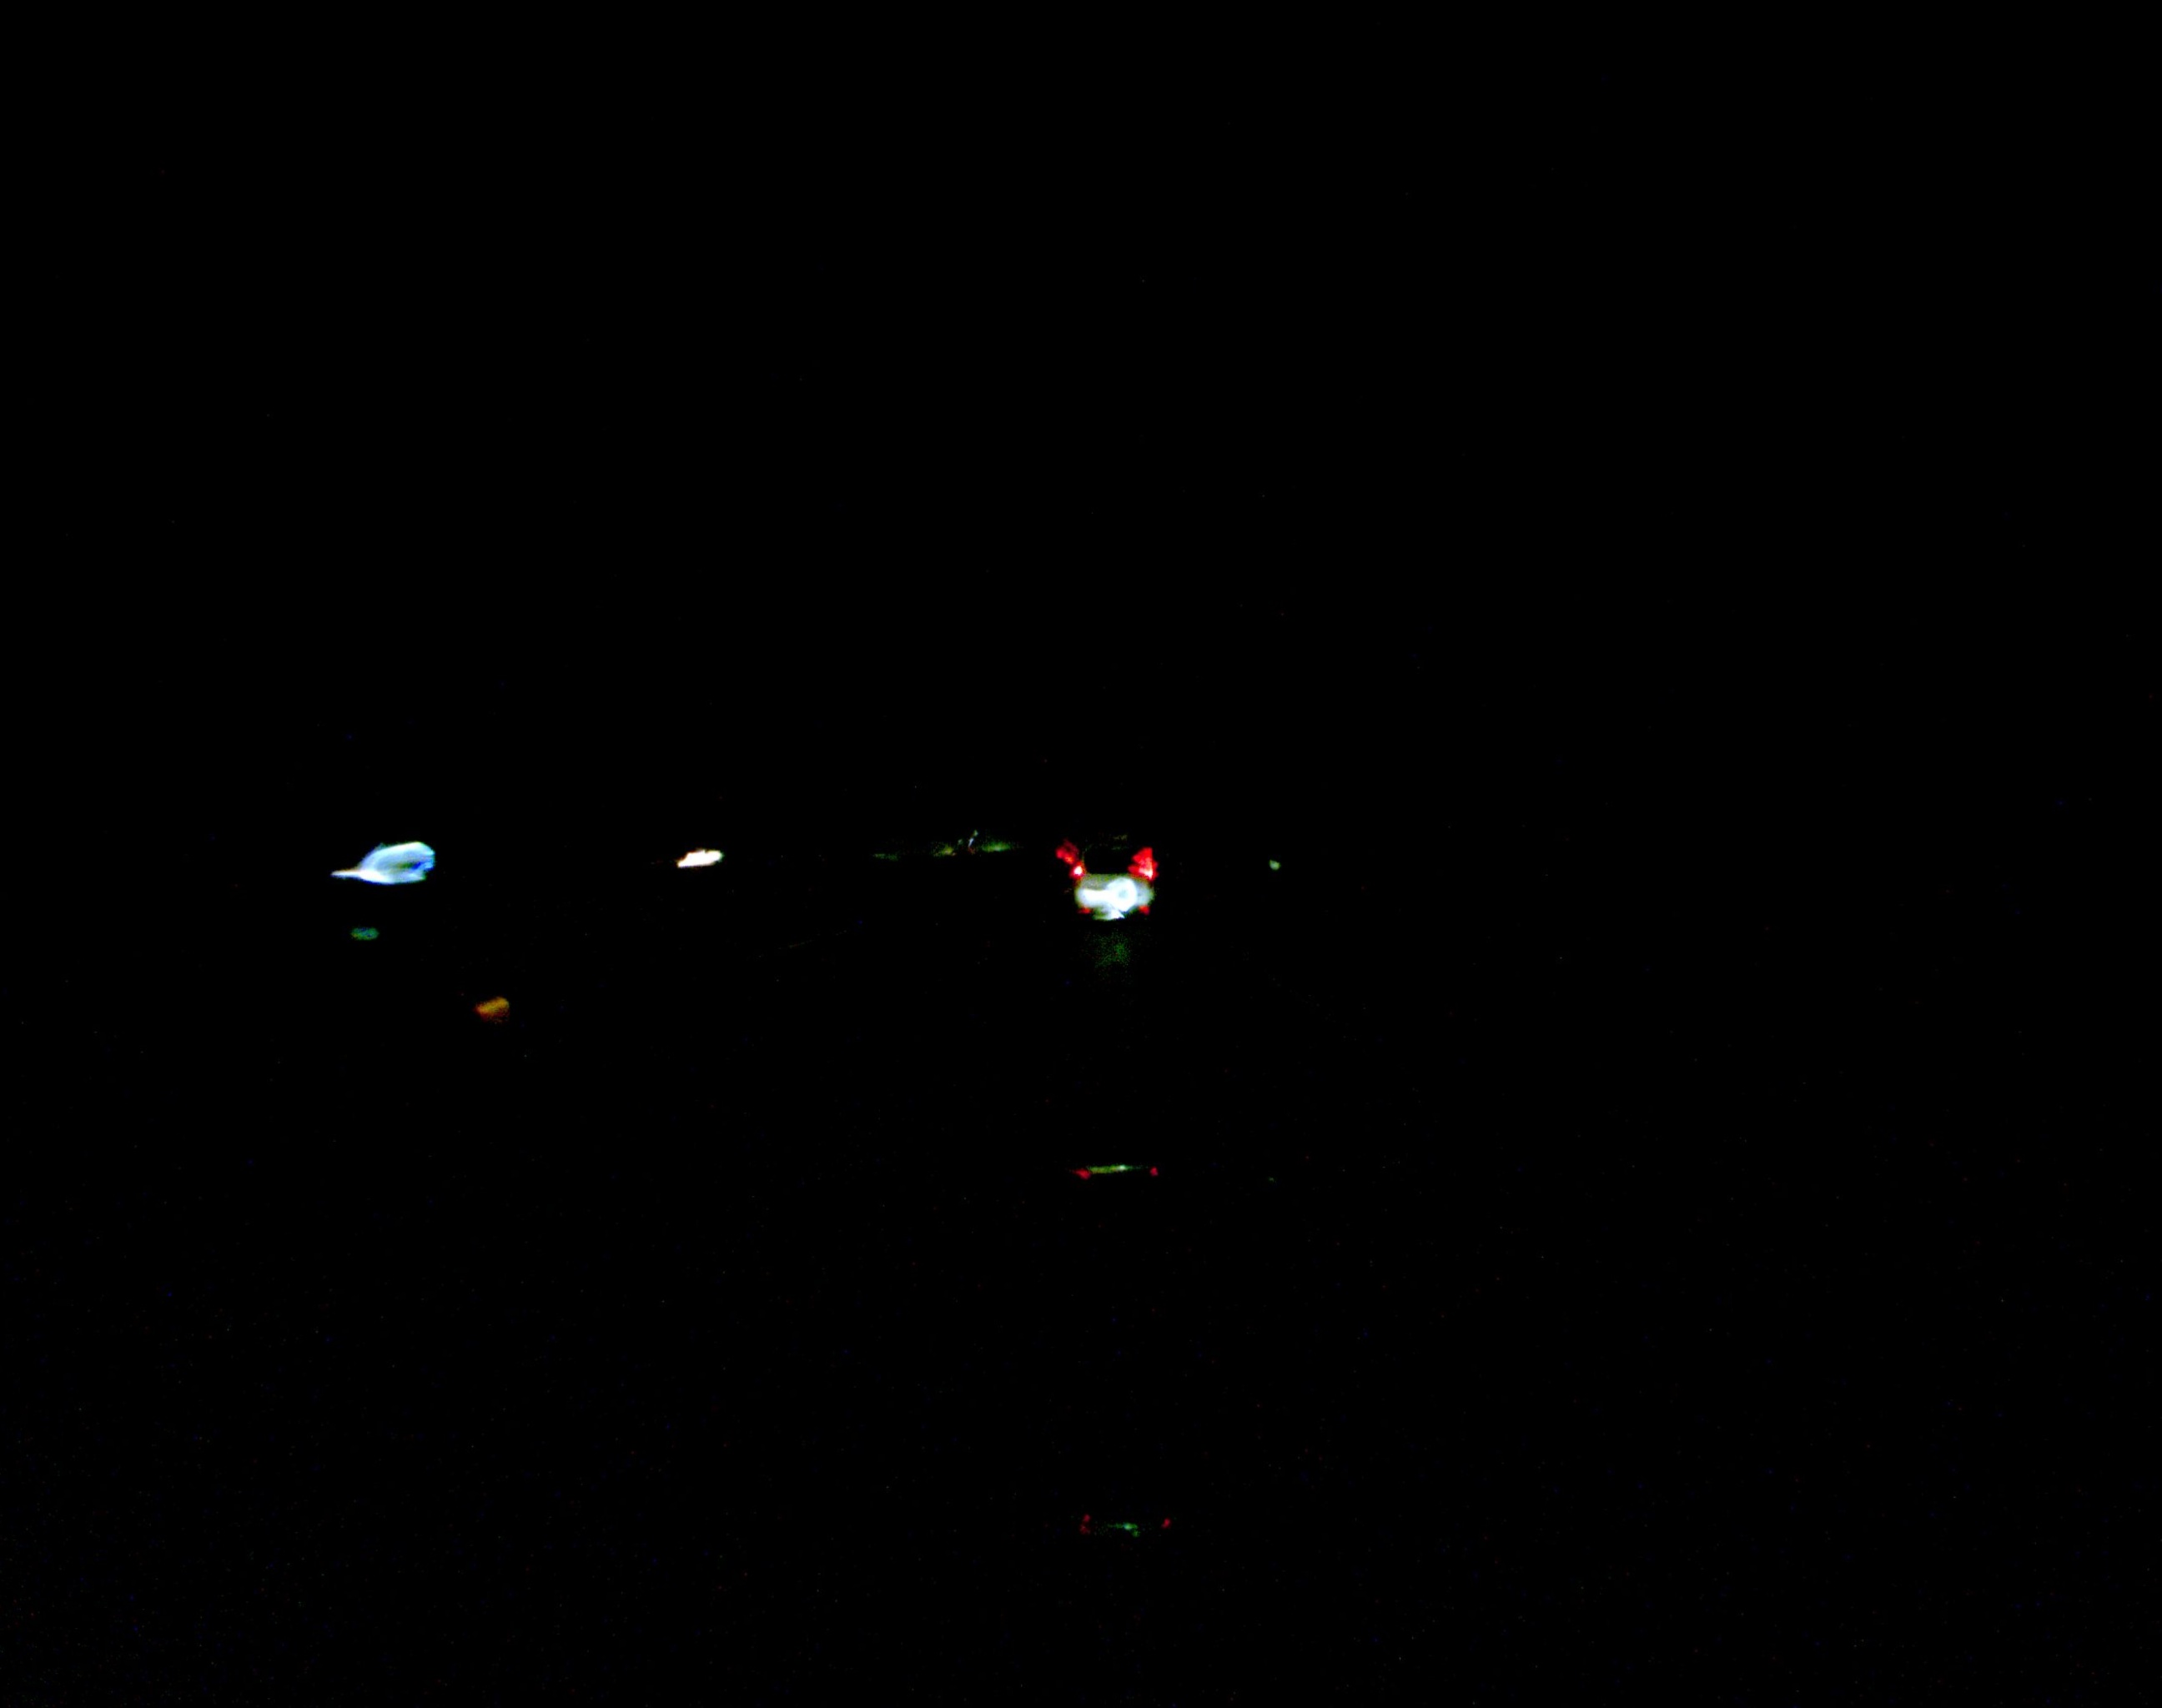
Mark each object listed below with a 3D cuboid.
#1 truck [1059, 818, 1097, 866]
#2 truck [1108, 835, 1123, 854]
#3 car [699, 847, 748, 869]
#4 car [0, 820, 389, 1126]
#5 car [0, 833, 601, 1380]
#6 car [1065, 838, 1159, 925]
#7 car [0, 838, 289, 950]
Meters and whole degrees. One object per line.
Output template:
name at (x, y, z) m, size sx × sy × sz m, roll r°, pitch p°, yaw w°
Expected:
truck at (-0.222, -1.394, 100.431) m, size 4.152 × 5.544 × 13.078 m, roll 0°, pitch 0°, yaw 1°
truck at (9.264, -2.386, 220.308) m, size 3.810 × 4.915 × 11.609 m, roll 0°, pitch 0°, yaw 1°
car at (-25.457, 0.267, 58.125) m, size 1.702 × 1.464 × 4.001 m, roll 1°, pitch 0°, yaw 1°
car at (-7.256, 0.693, 4.820) m, size 1.986 × 1.777 × 4.890 m, roll 0°, pitch 0°, yaw 2°
car at (-4.101, 0.769, 3.096) m, size 1.909 × 1.594 × 4.235 m, roll -2°, pitch 0°, yaw 2°
car at (0.751, 0.583, 19.381) m, size 1.945 × 1.792 × 5.127 m, roll 0°, pitch 0°, yaw 3°
car at (-15.107, 0.537, 12.498) m, size 1.965 × 1.464 × 3.999 m, roll 0°, pitch 0°, yaw 0°
